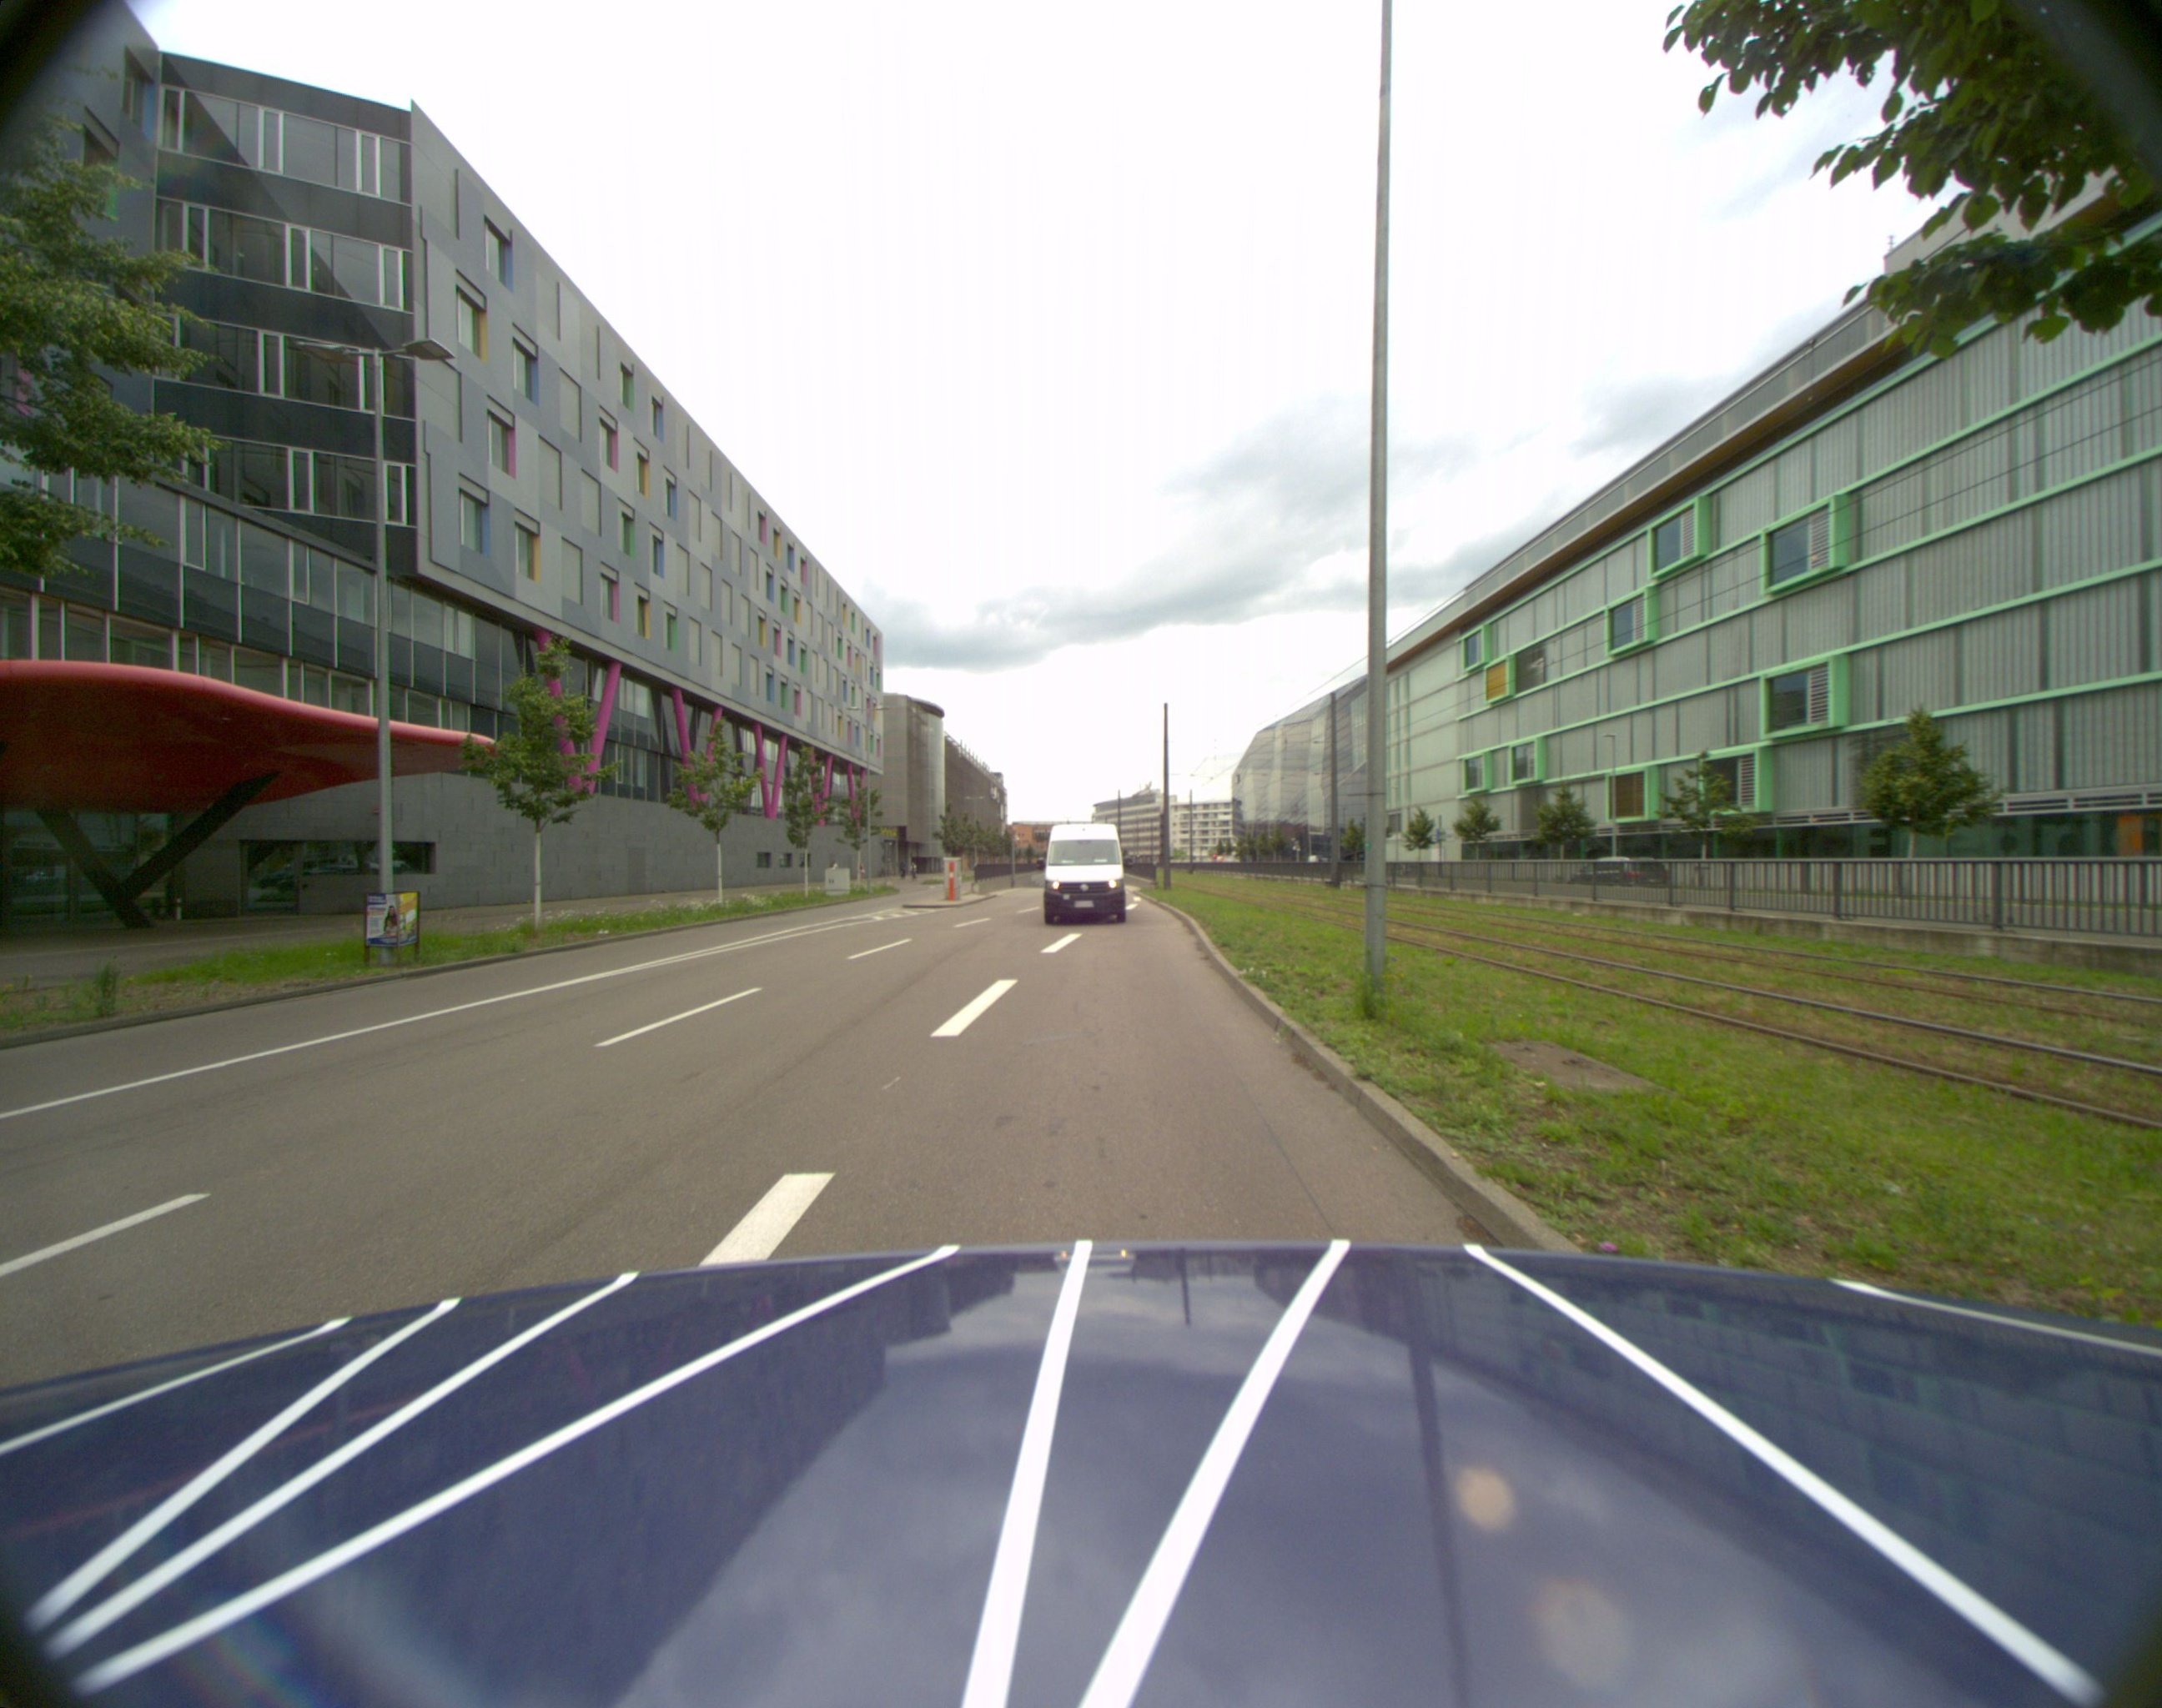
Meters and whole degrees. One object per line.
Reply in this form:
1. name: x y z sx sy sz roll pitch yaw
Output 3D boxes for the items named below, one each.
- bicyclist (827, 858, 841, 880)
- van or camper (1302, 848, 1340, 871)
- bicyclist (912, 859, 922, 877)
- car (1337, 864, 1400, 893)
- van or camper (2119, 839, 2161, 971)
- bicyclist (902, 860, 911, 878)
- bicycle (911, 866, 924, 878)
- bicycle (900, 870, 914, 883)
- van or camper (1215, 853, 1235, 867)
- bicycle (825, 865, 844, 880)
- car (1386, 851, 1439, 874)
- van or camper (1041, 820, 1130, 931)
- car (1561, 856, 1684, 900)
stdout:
1. bicyclist: -20.290 1.217 62.421 0.772 1.776 0.974 0 0 0
2. van or camper: 24.346 0.555 77.281 2.178 2.273 5.359 -1 0 1
3. bicyclist: -15.998 1.355 74.240 0.784 1.791 0.705 -2 -1 0
4. car: 16.219 1.357 43.141 1.767 1.470 4.572 0 0 -1
5. van or camper: 16.568 0.741 8.813 1.894 1.889 5.123 0 0 -4
6. bicyclist: -17.650 1.523 76.850 0.784 1.790 0.705 -1 -4 0
7. bicycle: -15.992 1.788 74.306 0.801 1.151 2.345 -2 -1 0
8. bicycle: -17.627 2.271 76.946 0.801 1.150 2.347 -2 -4 0
9. van or camper: 23.745 0.982 125.624 2.178 2.273 6.507 -2 -1 1
10. bicycle: -20.295 1.541 62.571 0.785 1.187 2.221 0 -1 0
11. car: 24.701 0.624 56.814 1.998 1.656 4.647 0 0 1
12. van or camper: 0.101 0.516 20.295 2.043 2.572 5.041 -1 0 0
13. car: 23.867 0.996 33.756 1.998 1.813 4.968 -1 0 1
